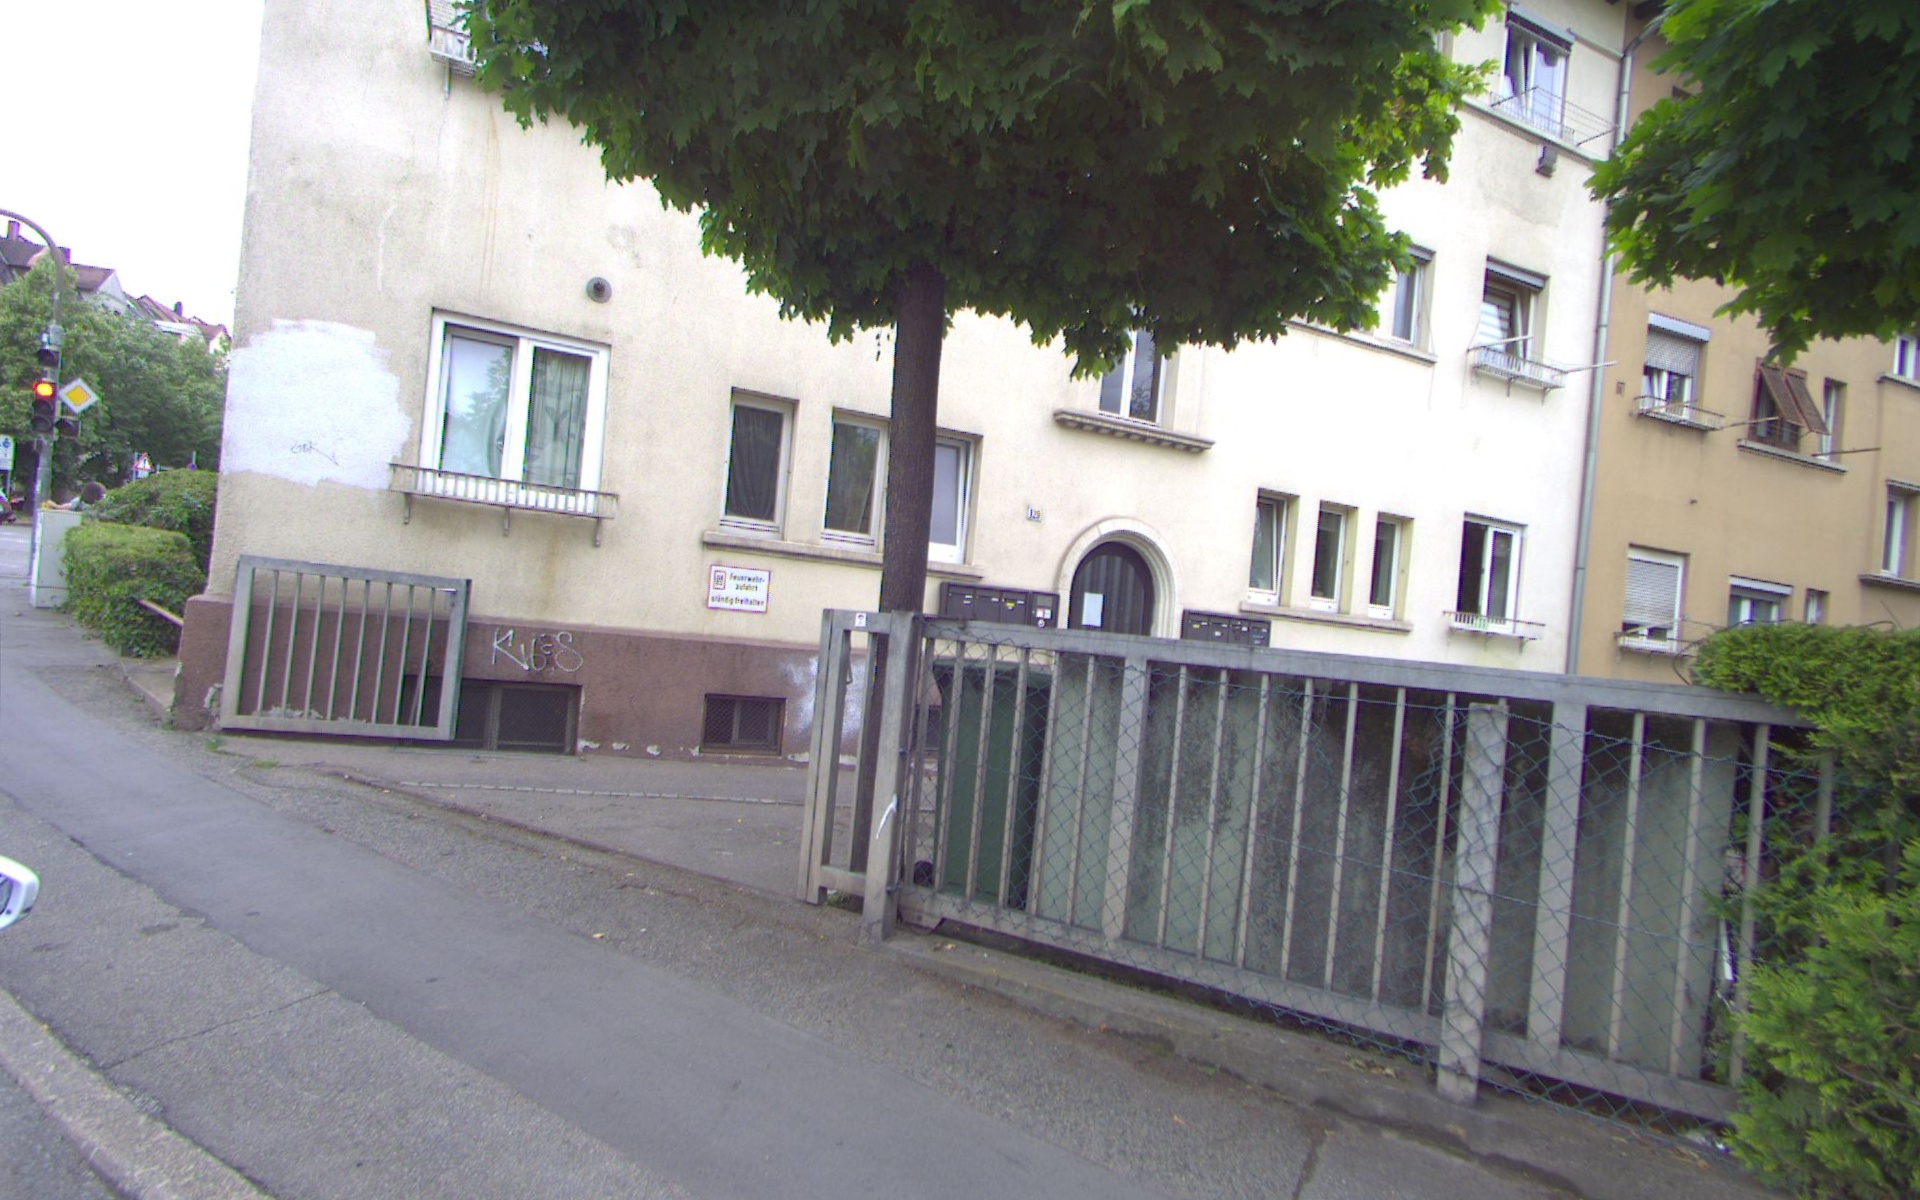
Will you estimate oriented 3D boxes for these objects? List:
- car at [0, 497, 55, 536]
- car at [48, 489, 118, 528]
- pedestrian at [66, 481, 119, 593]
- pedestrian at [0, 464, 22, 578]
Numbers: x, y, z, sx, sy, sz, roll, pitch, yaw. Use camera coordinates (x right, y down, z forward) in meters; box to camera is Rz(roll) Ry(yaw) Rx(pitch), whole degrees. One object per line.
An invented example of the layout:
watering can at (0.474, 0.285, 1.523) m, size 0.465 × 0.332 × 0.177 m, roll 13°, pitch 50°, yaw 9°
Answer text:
car at (-61.059, -5.440, 65.015) m, size 1.970 × 2.036 × 3.991 m, roll 8°, pitch -3°, yaw -15°
car at (-62.448, -6.491, 71.694) m, size 1.970 × 2.036 × 3.991 m, roll 8°, pitch -3°, yaw -15°
pedestrian at (-14.884, -1.074, 17.270) m, size 0.462 × 1.857 × 0.320 m, roll 9°, pitch -2°, yaw -44°
pedestrian at (-15.950, -1.331, 16.418) m, size 0.520 × 1.840 × 0.591 m, roll 7°, pitch -2°, yaw 27°
